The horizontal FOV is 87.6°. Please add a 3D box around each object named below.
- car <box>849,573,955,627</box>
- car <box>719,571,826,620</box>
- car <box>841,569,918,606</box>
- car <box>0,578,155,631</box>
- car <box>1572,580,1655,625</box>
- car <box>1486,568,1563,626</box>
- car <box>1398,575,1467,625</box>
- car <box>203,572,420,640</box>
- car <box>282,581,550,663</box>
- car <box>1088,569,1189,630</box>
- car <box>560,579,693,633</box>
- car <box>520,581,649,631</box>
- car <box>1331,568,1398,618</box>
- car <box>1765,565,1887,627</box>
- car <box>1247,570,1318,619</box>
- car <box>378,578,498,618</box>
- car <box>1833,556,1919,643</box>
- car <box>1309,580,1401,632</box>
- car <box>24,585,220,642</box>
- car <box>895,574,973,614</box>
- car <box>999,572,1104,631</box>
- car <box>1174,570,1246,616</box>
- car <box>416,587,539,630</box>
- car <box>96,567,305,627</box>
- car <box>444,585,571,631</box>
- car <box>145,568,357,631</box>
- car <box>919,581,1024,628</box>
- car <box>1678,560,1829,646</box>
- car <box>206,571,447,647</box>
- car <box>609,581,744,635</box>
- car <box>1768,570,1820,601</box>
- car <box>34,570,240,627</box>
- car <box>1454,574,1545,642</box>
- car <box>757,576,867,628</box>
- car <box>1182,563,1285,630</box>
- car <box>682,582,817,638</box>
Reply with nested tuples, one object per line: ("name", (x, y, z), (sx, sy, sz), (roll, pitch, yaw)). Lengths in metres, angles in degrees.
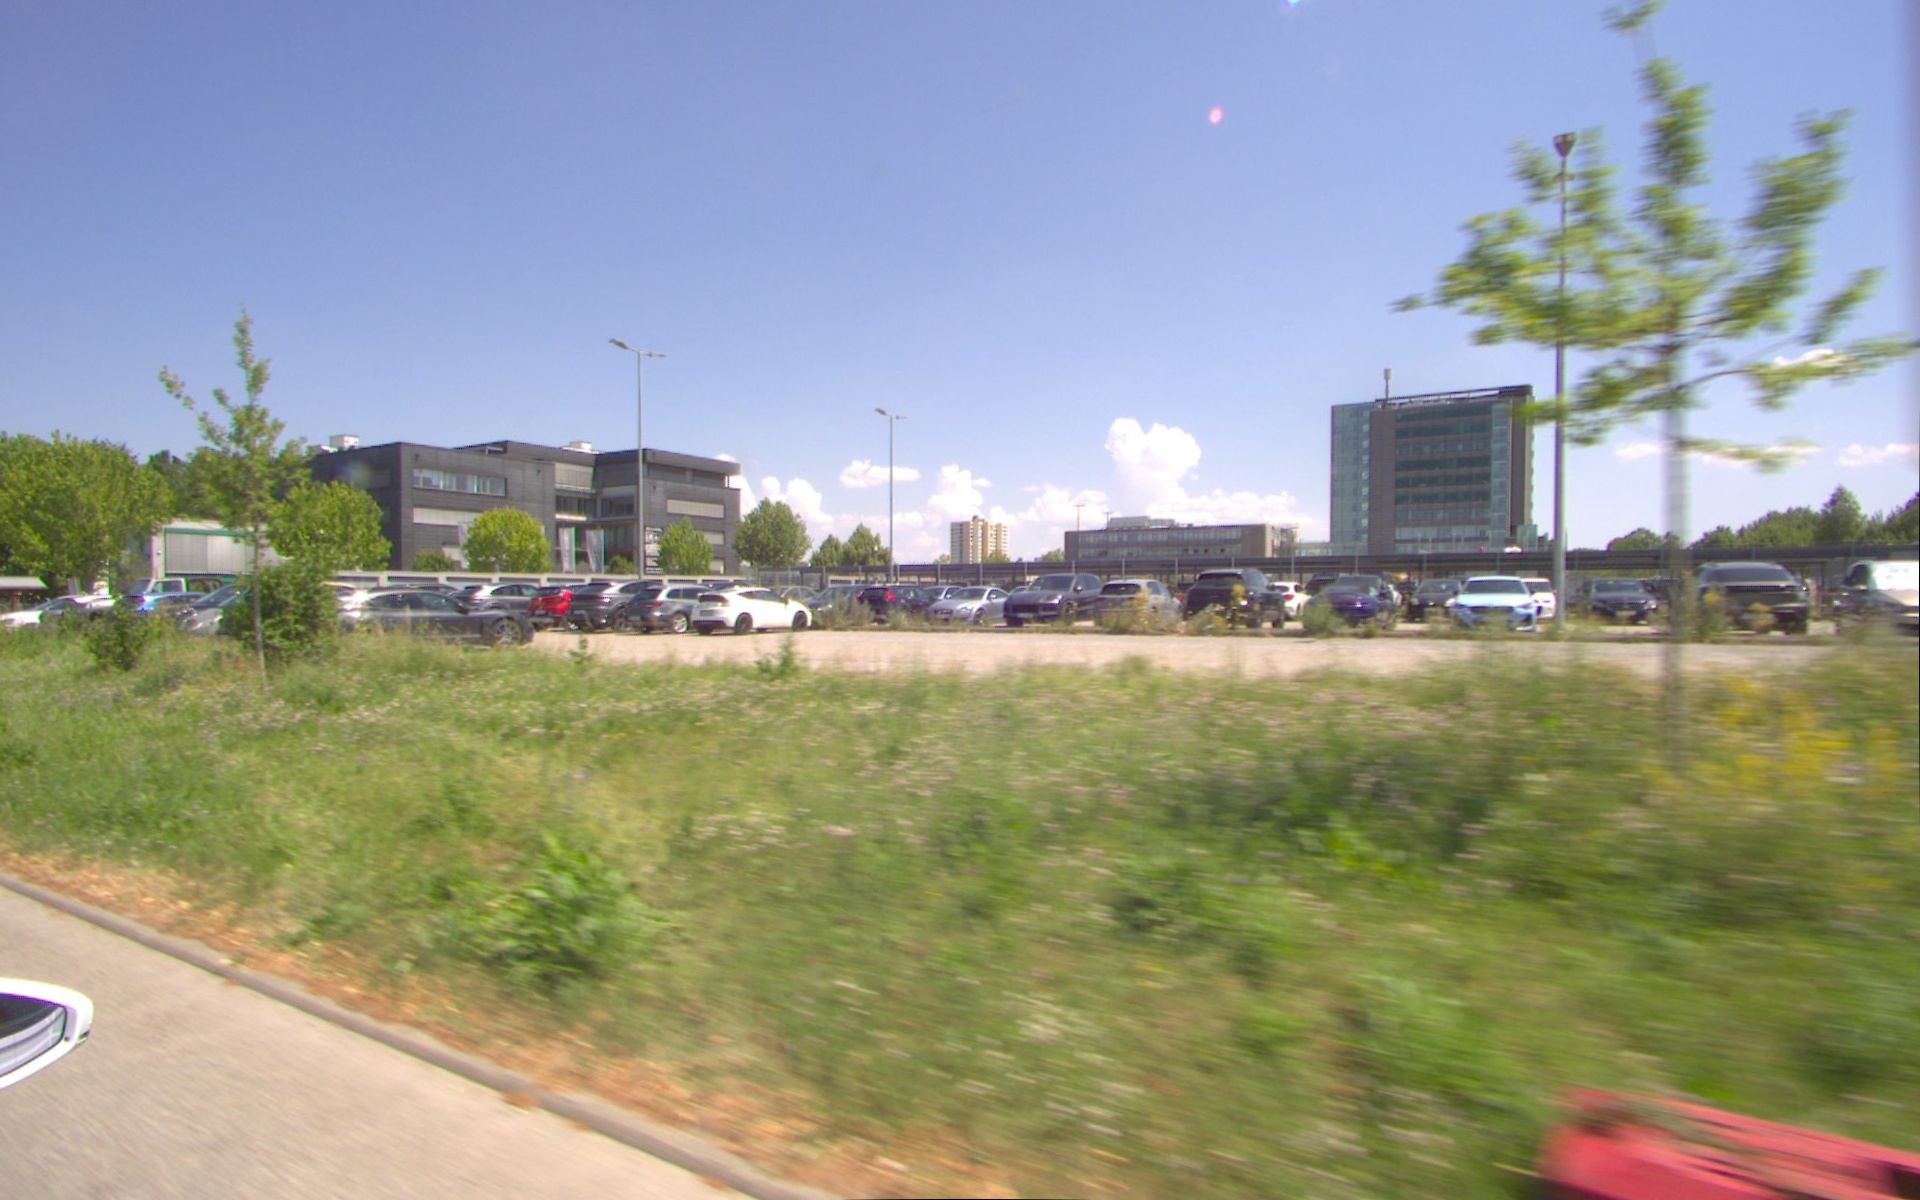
("car", (-1.915, -0.052, 34.035), (1.741, 1.618, 3.981), (4, 3, 28))
("car", (-6.847, -0.217, 36.964), (1.741, 1.618, 3.981), (4, 3, 28))
("car", (-3.793, -0.638, 47.552), (1.741, 1.618, 3.981), (4, 3, 28))
("car", (-27.491, 0.083, 30.583), (1.741, 1.420, 4.157), (4, 3, 28))
("car", (20.503, 0.027, 31.559), (1.704, 1.209, 3.982), (4, 3, 27))
("car", (18.731, -0.162, 33.387), (1.968, 1.707, 3.982), (4, 3, 27))
("car", (16.449, -0.055, 34.766), (1.968, 1.507, 3.982), (4, 3, 27))
("car", (-15.804, 0.076, 24.645), (1.741, 1.420, 4.157), (4, 3, 28))
("car", (-11.397, 0.368, 21.319), (1.894, 1.420, 4.690), (4, 4, 34))
("car", (5.339, -0.084, 29.616), (1.741, 1.618, 3.981), (4, 3, 28))
("car", (-10.666, 0.150, 32.287), (1.741, 1.511, 3.981), (4, 3, 28))
("car", (-12.730, 0.146, 34.194), (1.741, 1.482, 3.981), (4, 3, 28))
("car", (14.603, -0.292, 36.041), (1.741, 1.618, 3.981), (4, 3, 28))
("car", (24.935, -0.175, 28.993), (1.741, 1.618, 3.981), (4, 3, 28))
("car", (11.898, -0.256, 36.780), (1.741, 1.618, 3.981), (4, 3, 28))
("car", (-20.811, -0.128, 40.090), (1.741, 1.420, 3.981), (4, 3, 28))
("car", (19.487, -0.027, 20.298), (1.741, 1.618, 3.981), (4, 3, 28))
("car", (10.402, 0.107, 26.217), (1.741, 1.124, 3.981), (4, 3, 28))
("car", (-25.047, 0.346, 30.098), (1.741, 1.420, 4.157), (4, 3, 28))
("car", (-1.125, -0.316, 45.515), (1.741, 1.618, 3.981), (4, 3, 28))
("car", (2.874, -0.020, 30.725), (1.741, 1.618, 3.981), (4, 3, 28))
("car", (9.789, -0.312, 39.023), (1.741, 1.618, 3.981), (4, 3, 28))
("car", (-18.300, 0.282, 38.128), (1.741, 1.420, 3.981), (4, 3, 28))
("car", (-20.316, -0.142, 26.982), (1.741, 1.420, 4.157), (4, 3, 28))
("car", (-16.305, 0.236, 36.276), (1.741, 1.420, 3.981), (4, 3, 28))
("car", (-18.153, -0.071, 25.857), (1.741, 1.420, 4.157), (4, 3, 28))
("car", (0.442, 0.098, 32.360), (1.741, 1.289, 3.981), (4, 3, 28))
("car", (17.220, -0.010, 21.963), (1.741, 1.618, 4.360), (4, 3, 28))
("car", (-13.698, 0.121, 21.930), (1.741, 1.420, 4.157), (4, 3, 28))
("car", (-8.638, 0.198, 30.813), (1.741, 1.420, 3.981), (4, 3, 28))
("car", (58.022, -1.040, 69.714), (1.969, 2.042, 3.980), (4, 4, 30))
("car", (-23.119, -0.098, 28.303), (1.741, 1.420, 4.157), (4, 3, 28))
("car", (13.142, 0.125, 24.452), (1.741, 1.412, 3.981), (4, 3, 28))
("car", (-5.059, 0.013, 34.714), (1.741, 1.618, 3.981), (4, 3, 28))
("car", (7.587, -0.155, 27.556), (1.832, 1.618, 3.981), (4, 3, 28))
("car", (-6.166, 0.231, 29.777), (1.741, 1.420, 3.980), (4, 3, 29))
